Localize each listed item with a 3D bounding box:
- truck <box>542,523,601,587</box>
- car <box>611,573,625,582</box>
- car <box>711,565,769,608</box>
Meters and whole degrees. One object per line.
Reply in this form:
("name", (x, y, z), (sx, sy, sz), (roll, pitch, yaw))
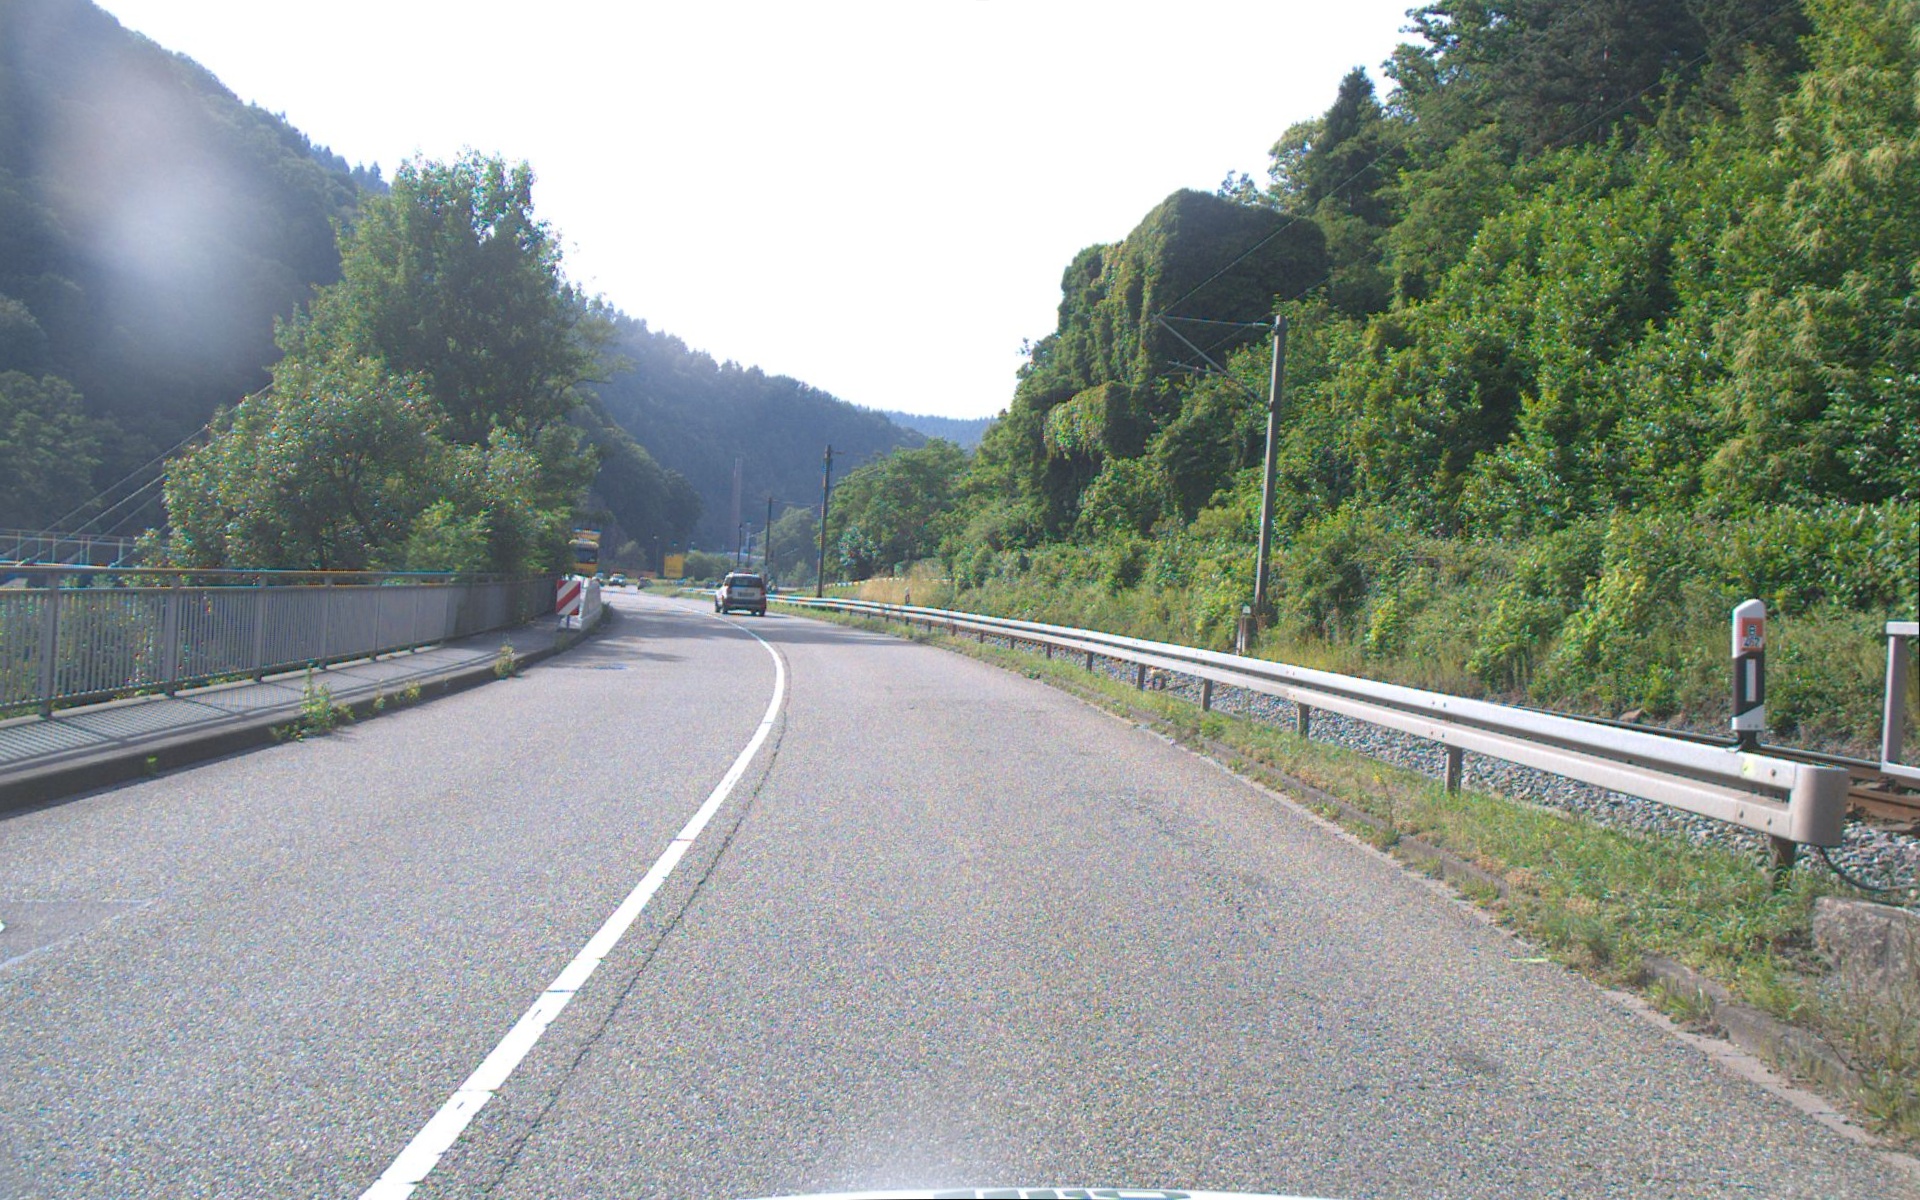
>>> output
("truck", (-28.529, -3.196, 120.996), (3.316, 4.460, 12.647), (0, 1, -17))
("car", (-45.507, -3.022, 220.293), (1.445, 1.103, 3.268), (5, 0, -7))
("car", (-9.061, -0.557, 67.922), (1.841, 1.684, 3.984), (1, 0, -15))
